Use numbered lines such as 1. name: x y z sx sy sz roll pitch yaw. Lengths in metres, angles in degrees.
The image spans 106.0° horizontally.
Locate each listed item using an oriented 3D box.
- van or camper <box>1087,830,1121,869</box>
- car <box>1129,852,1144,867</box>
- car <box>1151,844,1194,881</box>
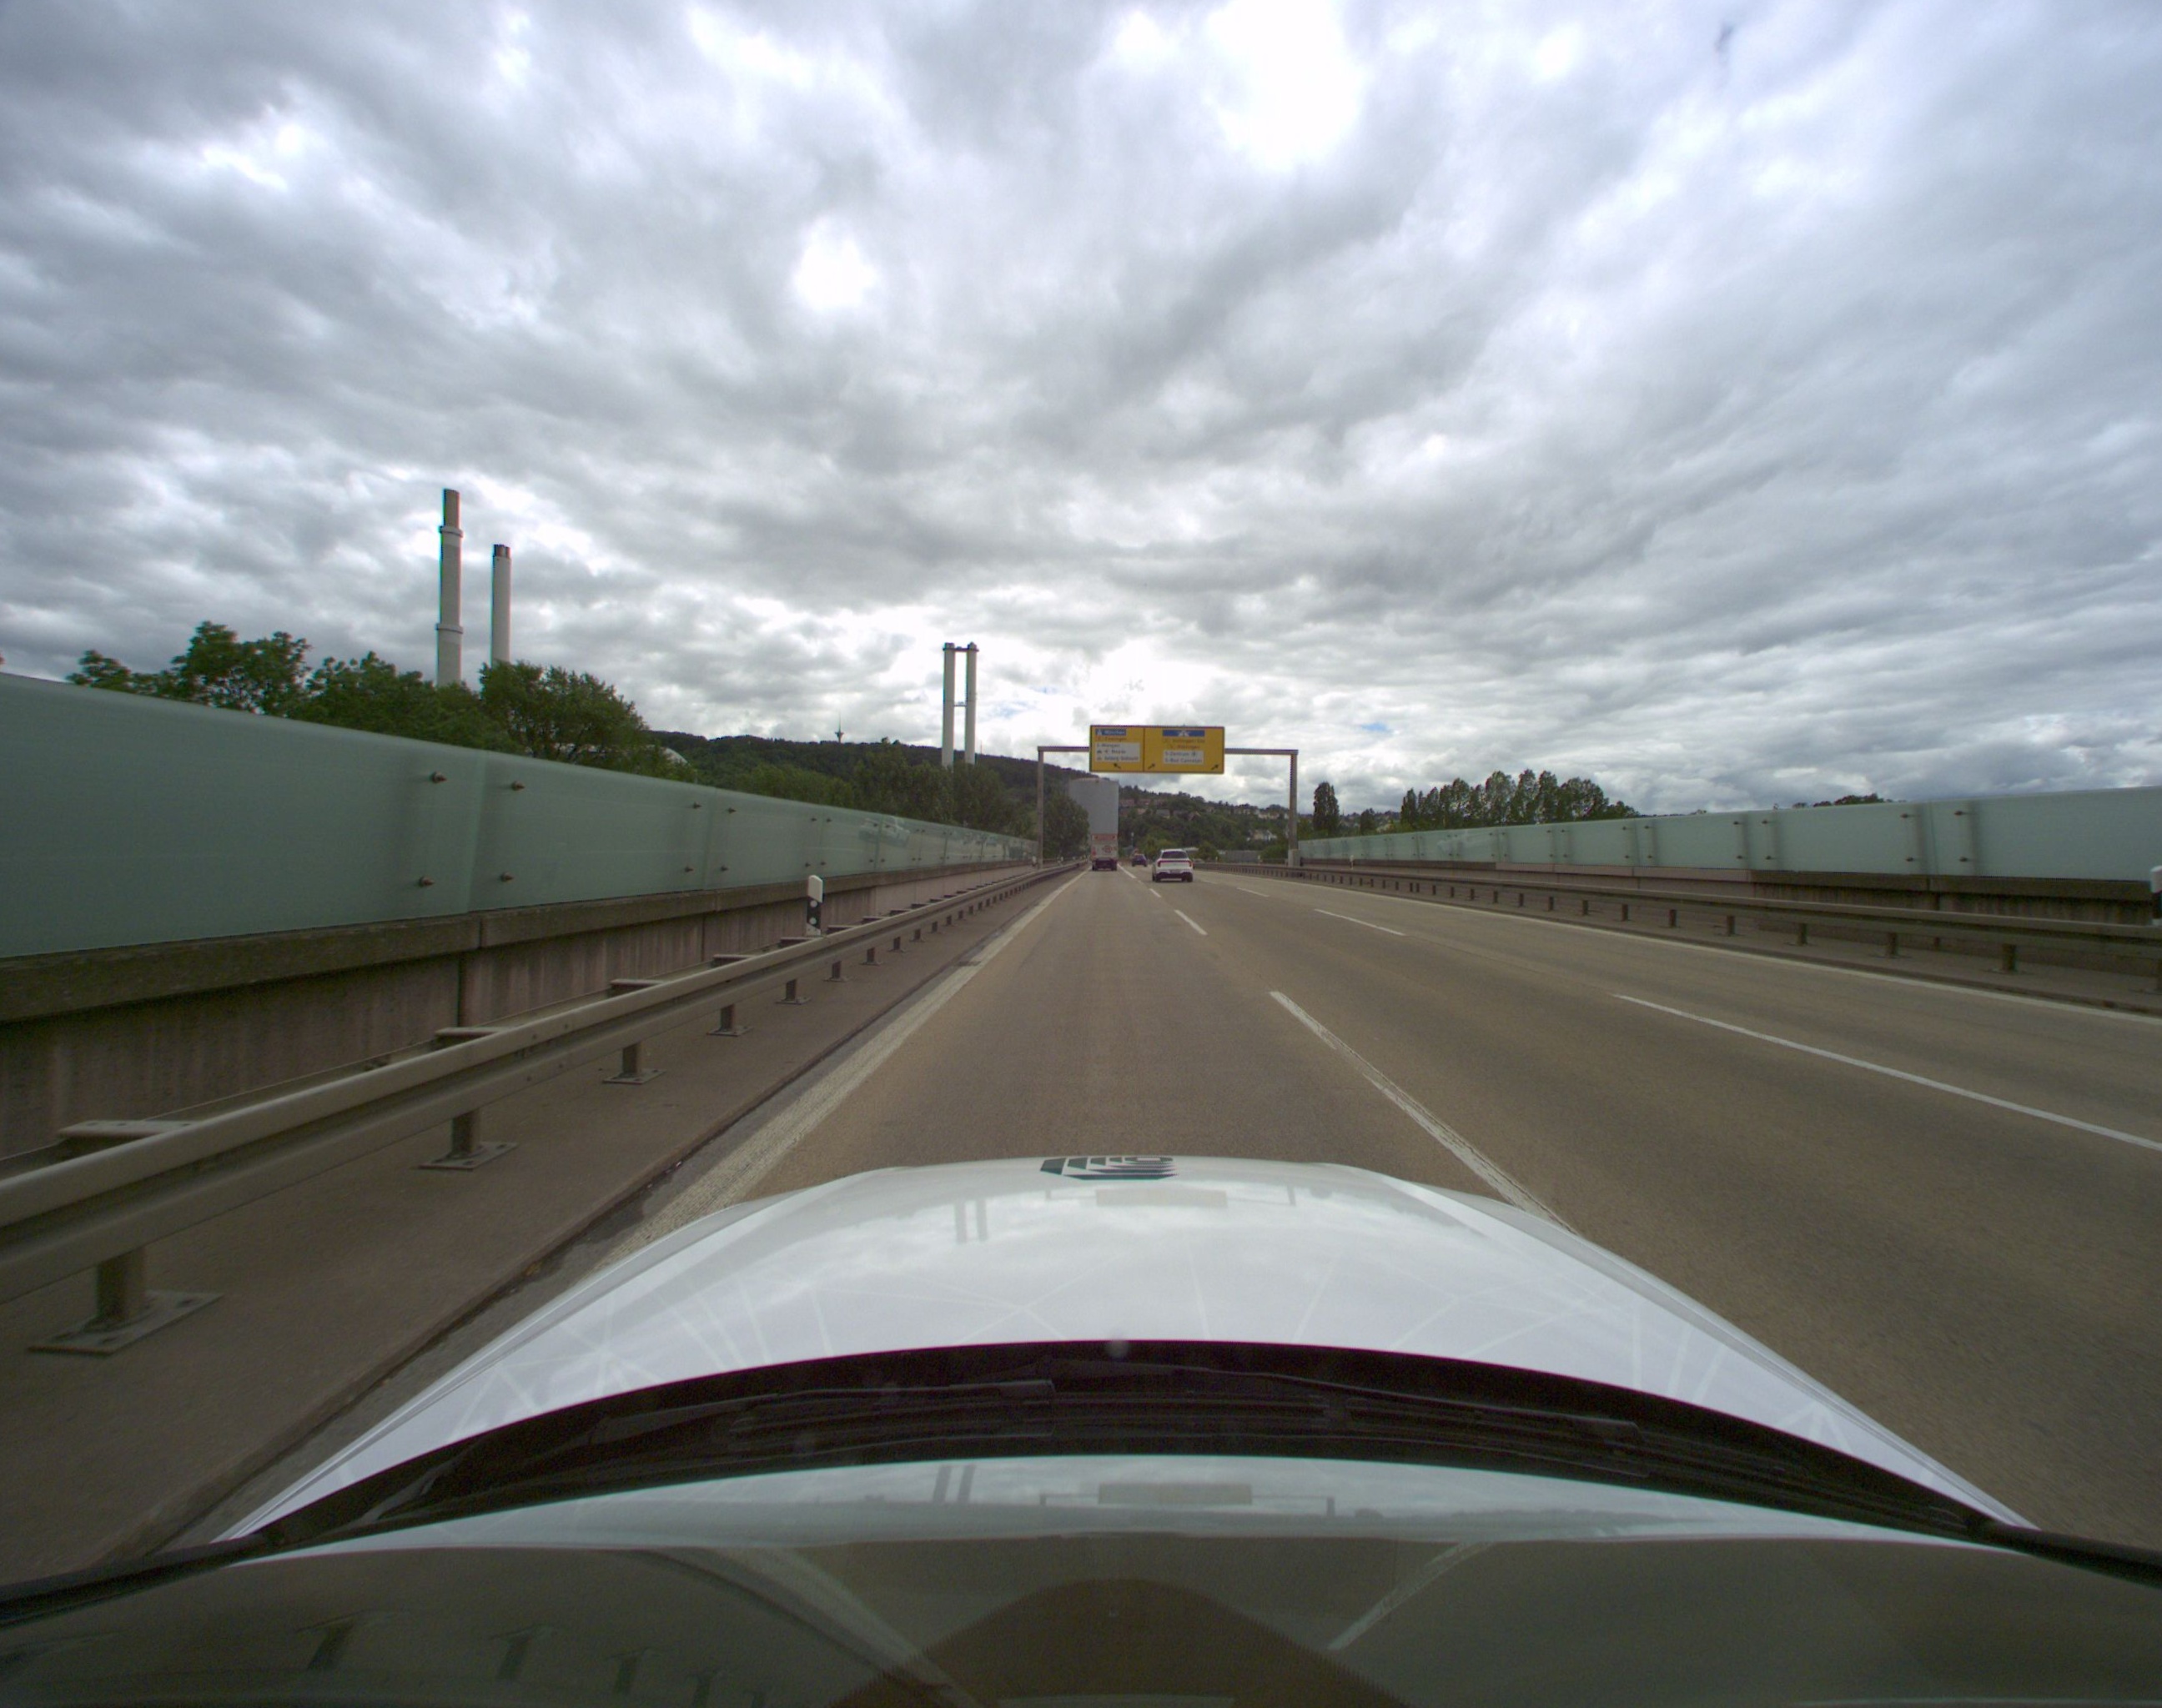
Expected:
1. van or camper: 2.298 -0.385 79.684 3.109 3.579 8.556 -1 0 3
2. car: 7.270 0.707 107.117 1.916 1.785 4.115 -1 0 2
3. car: 4.660 0.394 42.023 1.916 1.785 4.116 -1 0 3
